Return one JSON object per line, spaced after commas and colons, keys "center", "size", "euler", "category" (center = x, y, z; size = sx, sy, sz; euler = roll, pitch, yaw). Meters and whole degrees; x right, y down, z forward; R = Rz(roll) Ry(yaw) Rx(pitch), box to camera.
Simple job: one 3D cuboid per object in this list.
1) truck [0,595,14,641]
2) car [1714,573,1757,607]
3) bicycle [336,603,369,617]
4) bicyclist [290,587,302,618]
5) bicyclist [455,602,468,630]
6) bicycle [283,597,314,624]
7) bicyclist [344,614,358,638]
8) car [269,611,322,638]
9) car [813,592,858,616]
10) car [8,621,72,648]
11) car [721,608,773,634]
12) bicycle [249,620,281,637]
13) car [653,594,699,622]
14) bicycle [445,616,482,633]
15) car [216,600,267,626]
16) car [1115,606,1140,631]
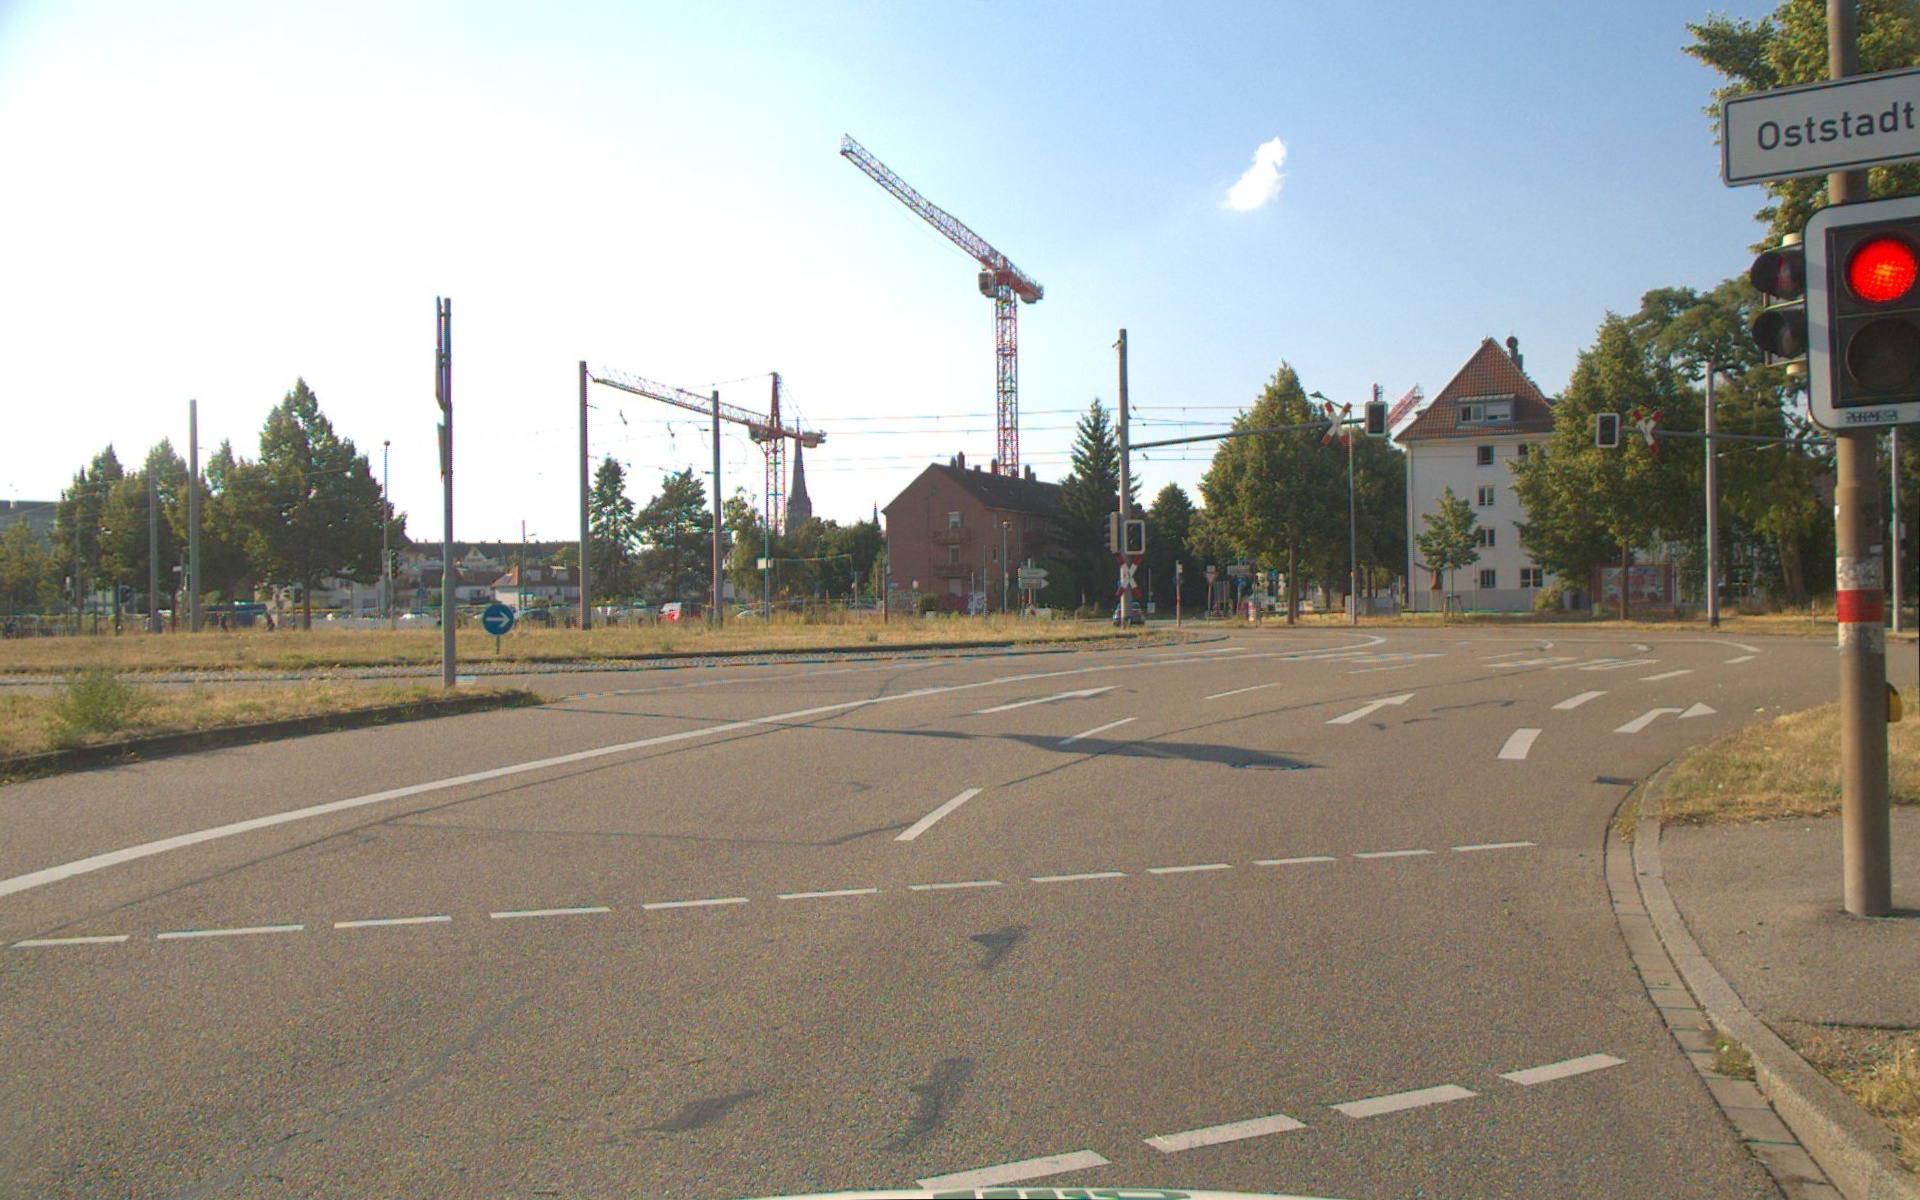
{"center": [-71.884, 1.318, 120.632], "size": [7.050, 3.287, 3.117], "euler": [-1, 0, 44], "category": "truck"}
{"center": [38.777, -0.472, 82.657], "size": [1.737, 1.646, 3.964], "euler": [-1, -1, 27], "category": "car"}
{"center": [-34.408, 0.588, 93.606], "size": [1.698, 0.757, 0.476], "euler": [-1, 0, -30], "category": "bicycle"}
{"center": [-36.742, 0.123, 91.511], "size": [0.599, 1.701, 0.473], "euler": [0, -1, -28], "category": "bicyclist"}
{"center": [-28.223, 0.893, 93.731], "size": [0.610, 1.537, 0.418], "euler": [-1, 0, -6], "category": "bicyclist"}
{"center": [-36.622, 0.572, 91.551], "size": [1.522, 1.499, 0.475], "euler": [-1, 0, -28], "category": "bicycle"}
{"center": [-34.477, 1.448, 93.589], "size": [0.645, 1.349, 0.514], "euler": [-1, 0, -29], "category": "bicyclist"}
{"center": [-52.190, 1.920, 129.855], "size": [3.917, 2.049, 1.994], "euler": [-1, 0, 34], "category": "car"}
{"center": [-11.269, 0.384, 149.497], "size": [3.728, 2.049, 1.673], "euler": [-1, -1, 18], "category": "car"}
{"center": [-46.311, 1.737, 83.279], "size": [2.648, 1.283, 1.099], "euler": [-1, 0, -38], "category": "car"}
{"center": [-16.998, 1.673, 132.221], "size": [3.728, 2.049, 1.673], "euler": [-1, -1, 18], "category": "car"}
{"center": [-38.431, 1.593, 91.447], "size": [1.595, 0.875, 0.540], "euler": [-1, 0, -27], "category": "bicycle"}
{"center": [-19.918, 0.537, 115.759], "size": [1.899, 1.886, 3.959], "euler": [-1, 0, -30], "category": "car"}
{"center": [-28.121, 1.371, 93.739], "size": [1.949, 0.934, 0.429], "euler": [-1, 0, -6], "category": "bicycle"}
{"center": [-58.583, 1.094, 134.862], "size": [3.917, 2.049, 1.994], "euler": [-1, 0, 34], "category": "car"}
{"center": [9.697, 1.056, 95.845], "size": [1.424, 1.323, 3.551], "euler": [-1, 0, 6], "category": "car"}
